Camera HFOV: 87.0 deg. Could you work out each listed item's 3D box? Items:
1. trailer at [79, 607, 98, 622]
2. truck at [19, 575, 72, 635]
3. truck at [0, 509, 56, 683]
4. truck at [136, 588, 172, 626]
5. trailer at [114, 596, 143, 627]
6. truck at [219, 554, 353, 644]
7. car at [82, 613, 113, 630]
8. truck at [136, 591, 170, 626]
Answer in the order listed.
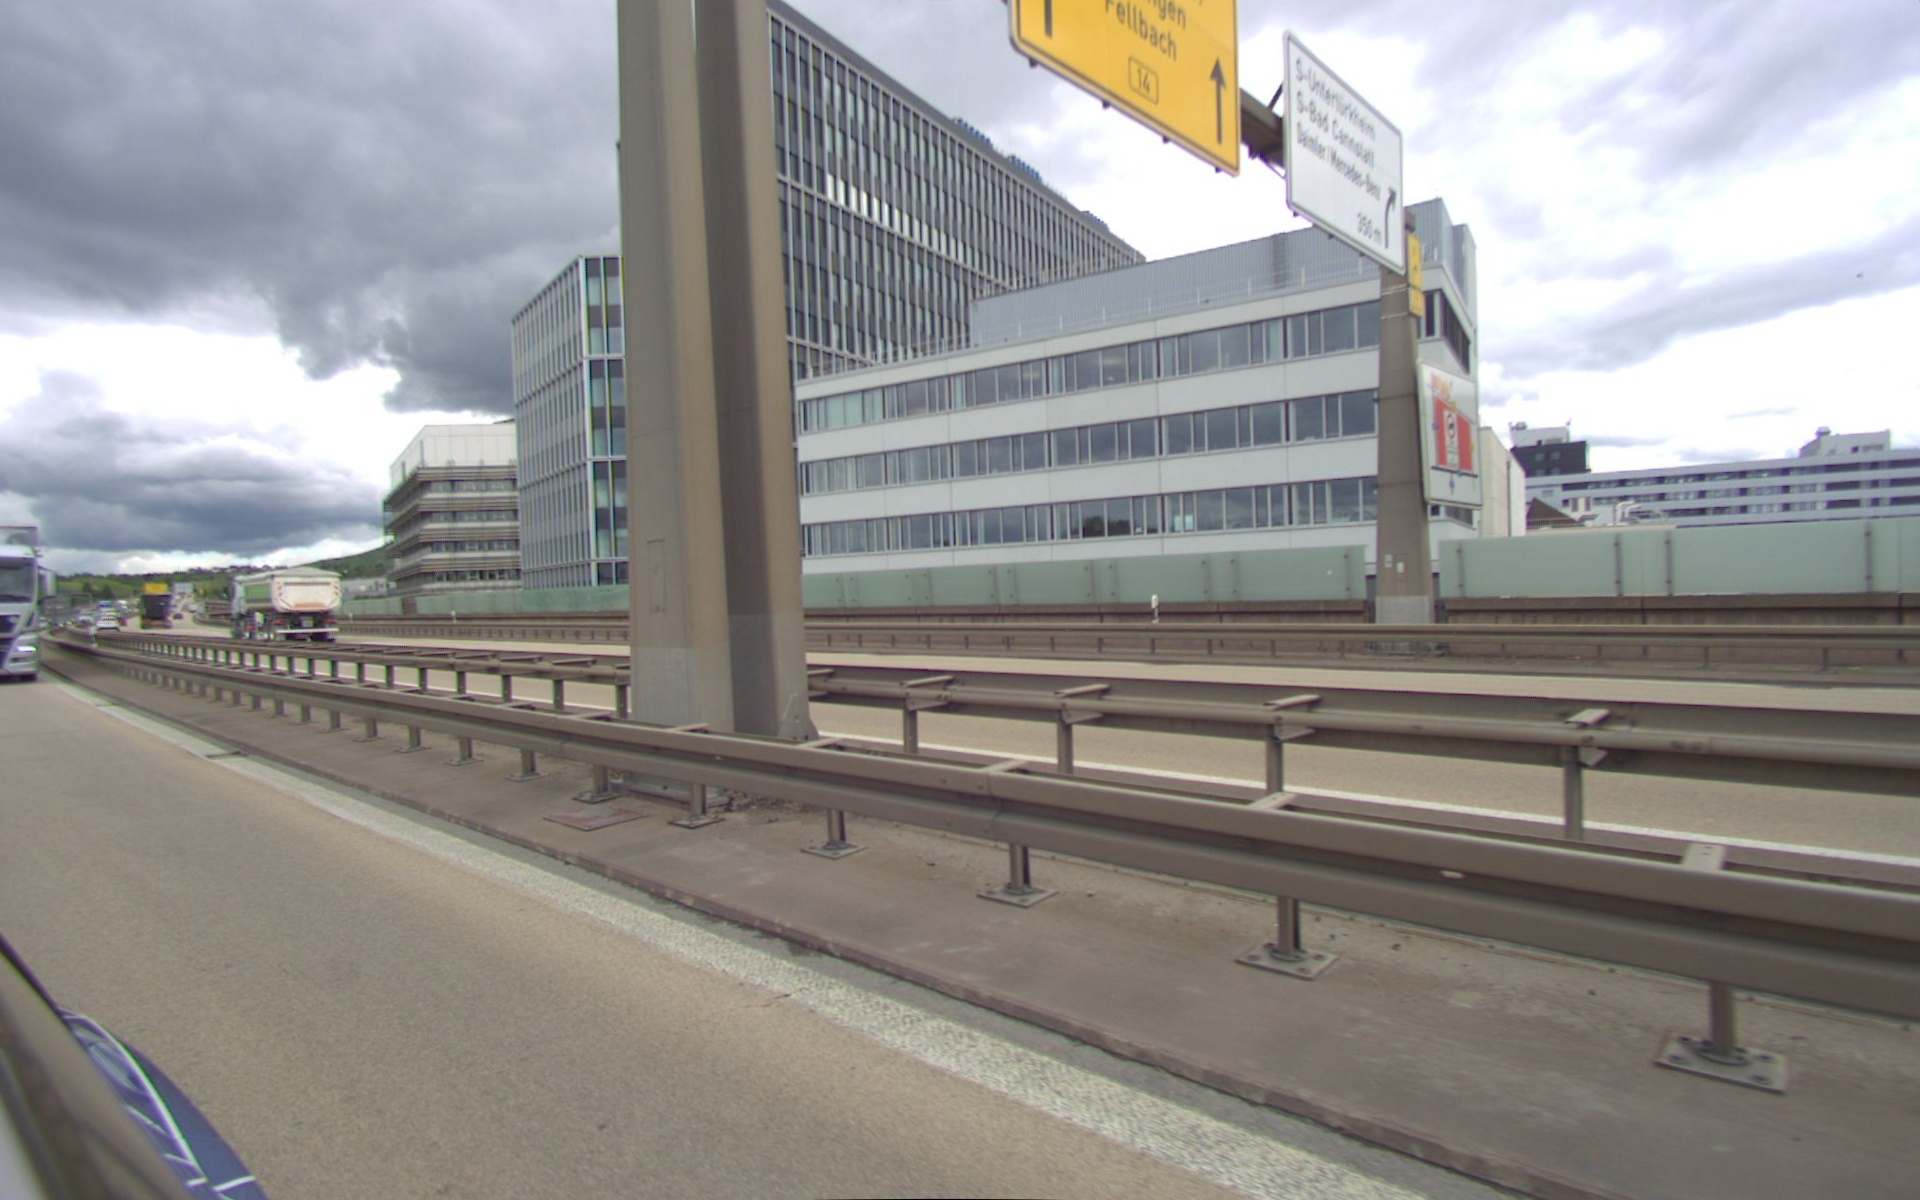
[{"bbox_3d":[-123.035,2.041,142.917,1.969,2.029,4.006,-1,1,-41],"label":"trailer"},{"bbox_3d":[-75.975,0.412,83.999,3.021,4.596,12.082,-1,0,-43],"label":"truck"},{"bbox_3d":[-24.898,-0.038,25.251,3.099,4.067,5.692,-3,1,-45],"label":"truck"},{"bbox_3d":[-90.115,0.802,113.122,3.018,4.096,8.679,-1,0,-39],"label":"truck"},{"bbox_3d":[-119.364,1.522,145.236,2.810,4.017,11.903,-1,2,-41],"label":"trailer"},{"bbox_3d":[-32.393,-0.011,48.273,3.022,3.805,12.527,-1,0,-44],"label":"truck"},{"bbox_3d":[-87.237,2.175,102.349,4.809,1.618,1.971,-1,0,44],"label":"car"},{"bbox_3d":[-96.602,1.001,121.155,3.018,4.096,11.879,-1,0,-39],"label":"truck"}]
